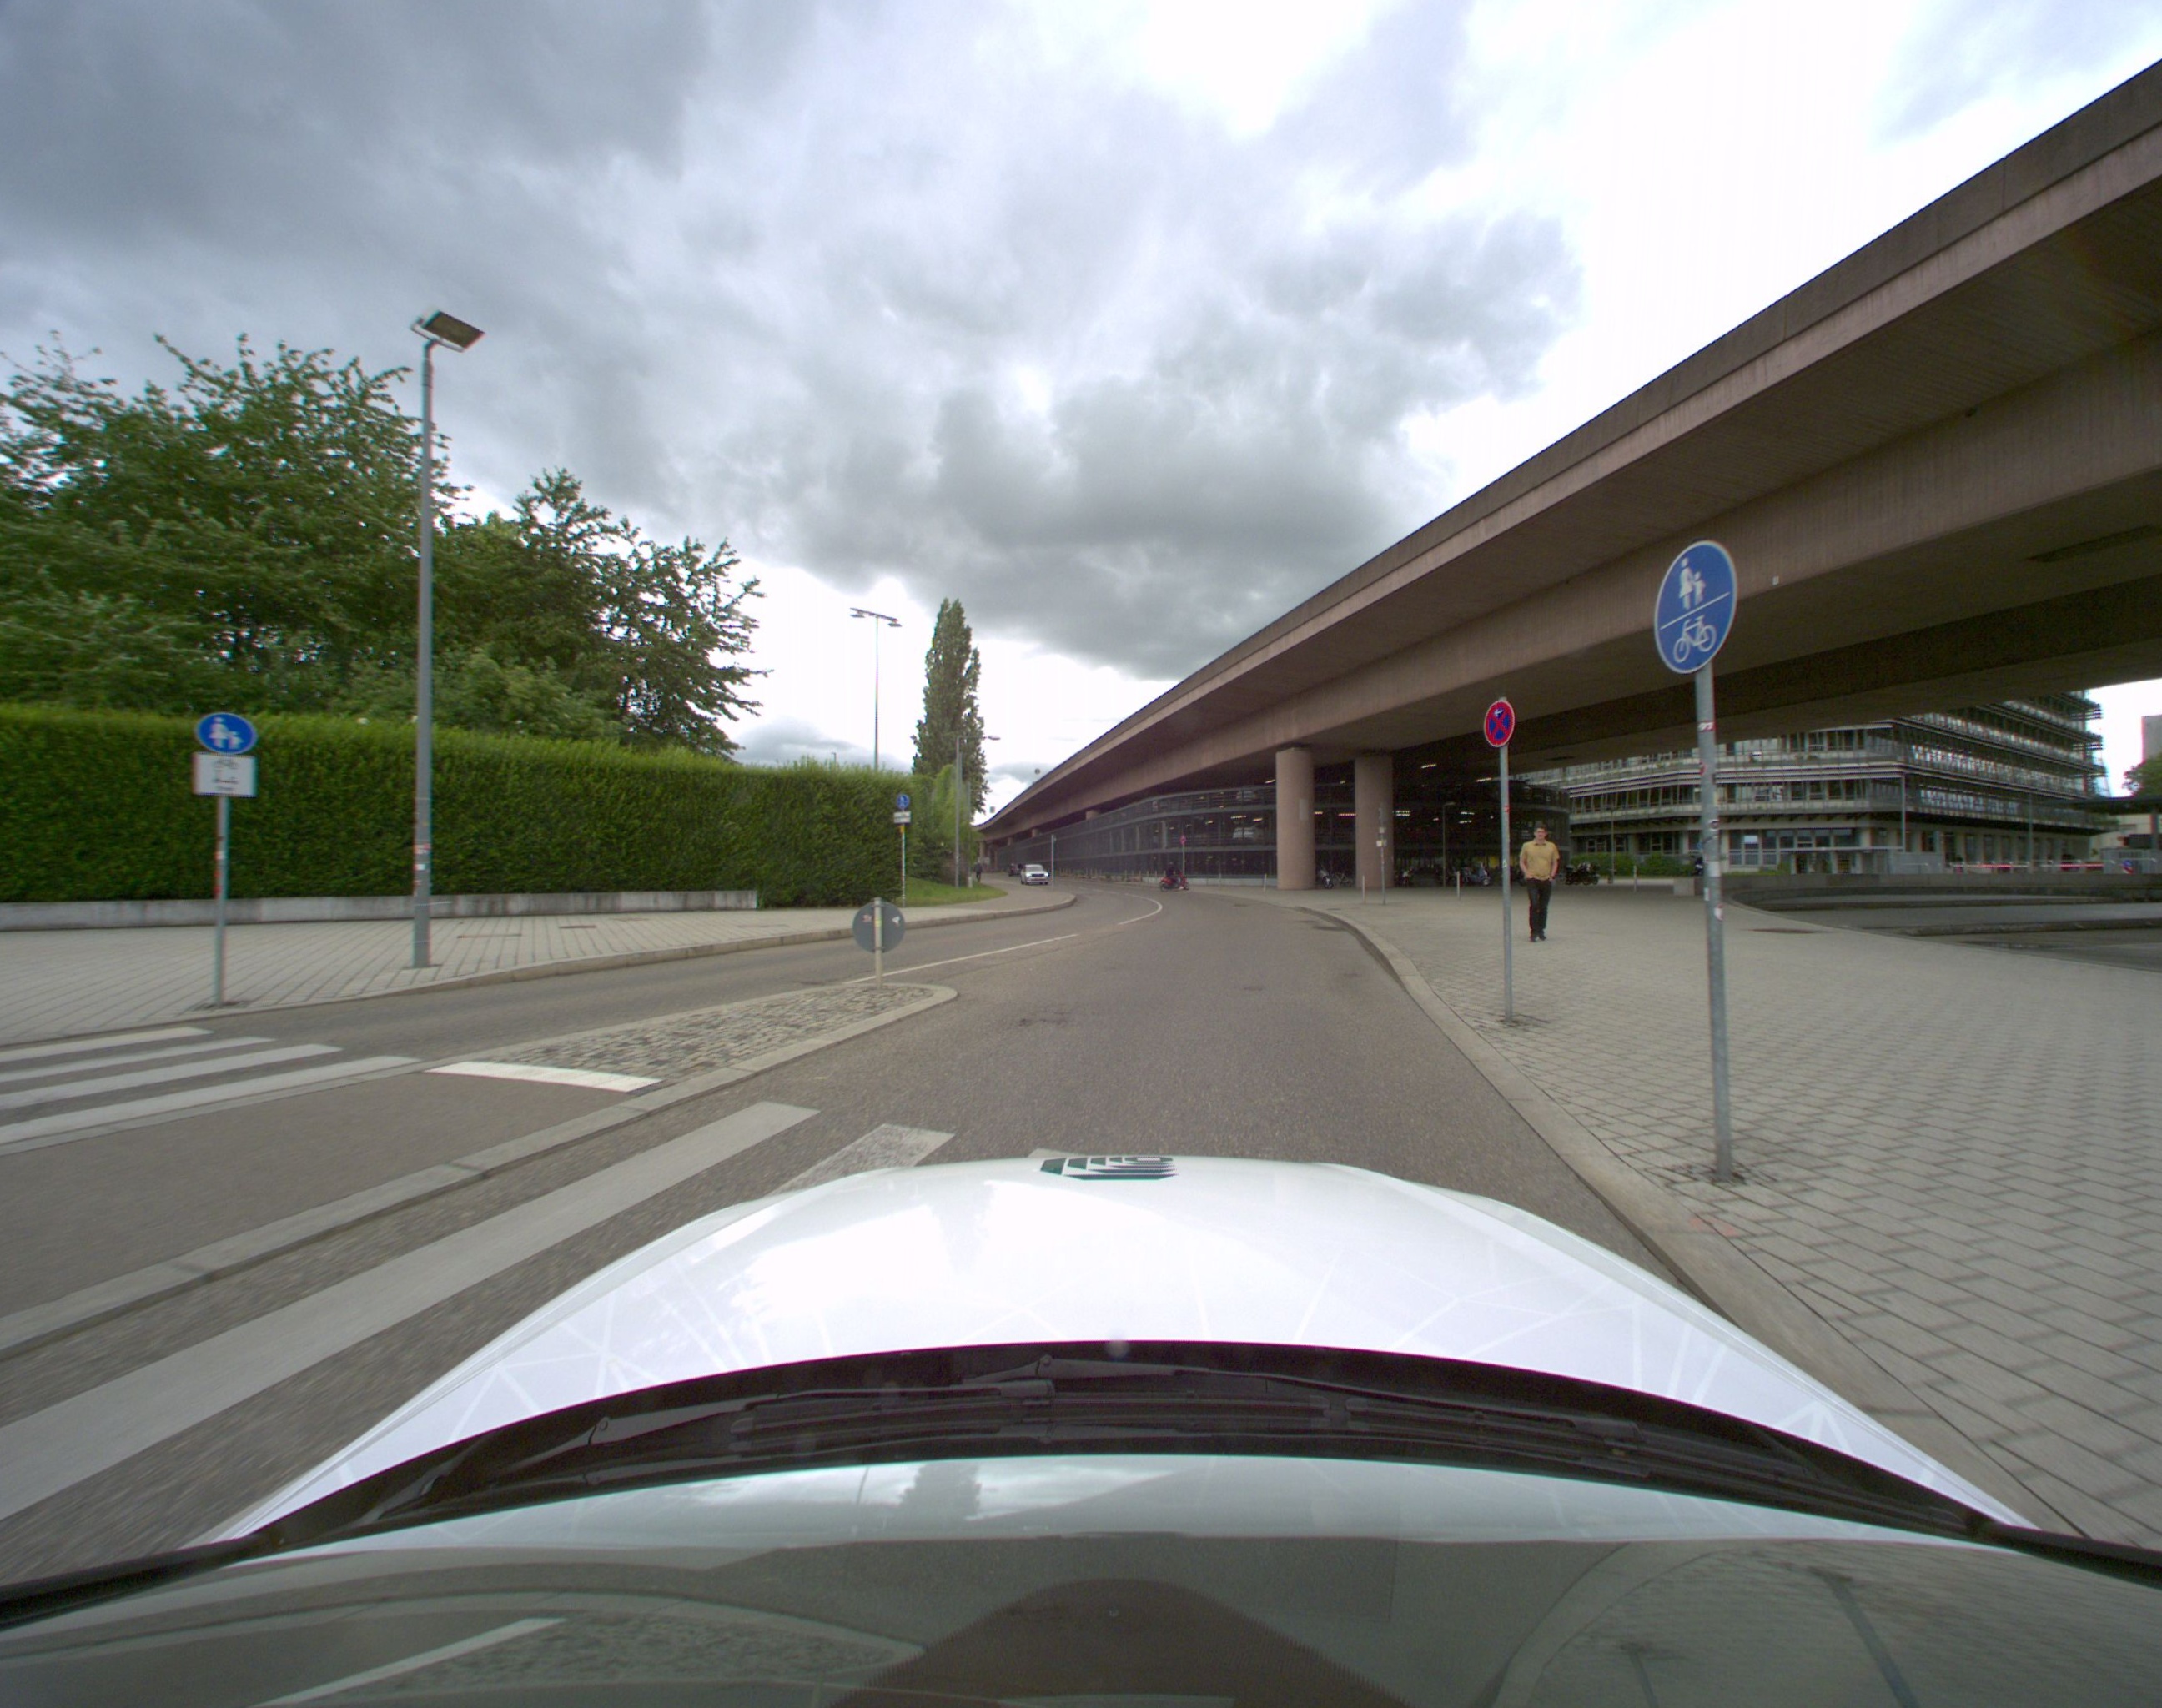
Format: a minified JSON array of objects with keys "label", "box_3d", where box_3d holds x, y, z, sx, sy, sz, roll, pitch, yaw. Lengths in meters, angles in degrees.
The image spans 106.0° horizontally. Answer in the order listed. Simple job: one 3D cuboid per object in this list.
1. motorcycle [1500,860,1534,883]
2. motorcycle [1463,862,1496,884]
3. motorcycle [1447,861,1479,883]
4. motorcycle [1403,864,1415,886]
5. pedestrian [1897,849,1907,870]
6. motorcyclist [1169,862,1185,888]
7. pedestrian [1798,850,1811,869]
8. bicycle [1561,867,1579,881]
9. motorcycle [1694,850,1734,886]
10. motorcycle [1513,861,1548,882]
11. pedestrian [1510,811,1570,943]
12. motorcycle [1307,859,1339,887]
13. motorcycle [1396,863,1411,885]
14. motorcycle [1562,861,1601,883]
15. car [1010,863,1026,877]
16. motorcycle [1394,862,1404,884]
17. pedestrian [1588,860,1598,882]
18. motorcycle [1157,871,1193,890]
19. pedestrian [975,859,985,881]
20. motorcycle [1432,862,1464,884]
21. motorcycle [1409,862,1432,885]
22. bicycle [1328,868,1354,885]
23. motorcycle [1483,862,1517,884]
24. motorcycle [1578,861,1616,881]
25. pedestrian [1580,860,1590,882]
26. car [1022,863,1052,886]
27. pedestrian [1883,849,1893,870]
[{"label":"motorcycle","box_3d":[26.011,1.029,48.580,0.672,1.286,2.072,0,1,-9]},{"label":"motorcycle","box_3d":[23.664,1.126,48.424,0.672,1.220,2.072,0,1,-9]},{"label":"motorcycle","box_3d":[22.571,1.060,48.146,0.672,1.220,2.072,0,1,-9]},{"label":"motorcycle","box_3d":[17.717,1.144,43.985,0.515,1.171,1.157,0,-2,26]},{"label":"pedestrian","box_3d":[59.099,0.406,58.594,0.548,1.481,0.491,-1,0,-42]},{"label":"motorcyclist","box_3d":[5.294,1.149,45.055,0.862,1.419,0.765,0,0,6]},{"label":"pedestrian","box_3d":[57.204,0.460,64.375,0.541,1.481,0.497,0,0,1]},{"label":"bicycle","box_3d":[32.104,1.304,53.420,1.512,0.895,0.470,-1,1,-36]},{"label":"motorcycle","box_3d":[23.677,0.507,30.462,1.948,1.264,0.543,-1,0,-32]},{"label":"motorcycle","box_3d":[26.947,1.034,48.873,0.672,1.220,2.072,0,1,-10]},{"label":"pedestrian","box_3d":[7.357,0.348,13.102,0.775,2.013,1.046,0,0,26]},{"label":"motorcycle","box_3d":[13.093,0.994,44.027,0.645,1.455,1.747,-1,1,-26]},{"label":"motorcycle","box_3d":[18.927,1.161,47.781,0.517,1.220,1.153,0,0,8]},{"label":"motorcycle","box_3d":[31.168,1.087,50.762,0.672,1.275,2.356,0,1,-9]},{"label":"car","box_3d":[-8.726,2.205,111.914,1.840,1.711,3.693,-1,1,-10]},{"label":"motorcycle","box_3d":[18.120,1.083,46.412,0.516,1.220,1.156,0,0,20]},{"label":"pedestrian","box_3d":[46.606,1.517,74.158,0.526,2.014,0.573,0,-1,-1]},{"label":"motorcycle","box_3d":[5.186,1.485,45.060,1.940,1.022,0.750,0,0,6]},{"label":"pedestrian","box_3d":[-8.371,1.324,67.256,0.803,1.781,0.917,0,0,-9]},{"label":"motorcycle","box_3d":[21.593,1.079,47.940,0.672,1.220,2.072,0,1,-9]},{"label":"motorcycle","box_3d":[19.555,1.097,46.898,0.824,1.220,2.085,0,1,11]},{"label":"bicycle","box_3d":[15.888,1.362,49.741,1.461,0.976,0.453,0,0,15]},{"label":"motorcycle","box_3d":[24.846,1.102,48.323,0.672,1.220,2.072,0,1,-9]},{"label":"motorcycle","box_3d":[32.515,1.049,51.356,0.672,1.220,2.356,0,1,-9]},{"label":"pedestrian","box_3d":[45.894,1.520,74.193,0.526,2.014,0.573,0,-1,-3]},{"label":"car","box_3d":[-3.669,1.639,67.199,1.866,1.683,4.387,-1,1,-12]},{"label":"pedestrian","box_3d":[58.484,0.406,59.035,0.548,1.481,0.491,-1,0,-42]}]
